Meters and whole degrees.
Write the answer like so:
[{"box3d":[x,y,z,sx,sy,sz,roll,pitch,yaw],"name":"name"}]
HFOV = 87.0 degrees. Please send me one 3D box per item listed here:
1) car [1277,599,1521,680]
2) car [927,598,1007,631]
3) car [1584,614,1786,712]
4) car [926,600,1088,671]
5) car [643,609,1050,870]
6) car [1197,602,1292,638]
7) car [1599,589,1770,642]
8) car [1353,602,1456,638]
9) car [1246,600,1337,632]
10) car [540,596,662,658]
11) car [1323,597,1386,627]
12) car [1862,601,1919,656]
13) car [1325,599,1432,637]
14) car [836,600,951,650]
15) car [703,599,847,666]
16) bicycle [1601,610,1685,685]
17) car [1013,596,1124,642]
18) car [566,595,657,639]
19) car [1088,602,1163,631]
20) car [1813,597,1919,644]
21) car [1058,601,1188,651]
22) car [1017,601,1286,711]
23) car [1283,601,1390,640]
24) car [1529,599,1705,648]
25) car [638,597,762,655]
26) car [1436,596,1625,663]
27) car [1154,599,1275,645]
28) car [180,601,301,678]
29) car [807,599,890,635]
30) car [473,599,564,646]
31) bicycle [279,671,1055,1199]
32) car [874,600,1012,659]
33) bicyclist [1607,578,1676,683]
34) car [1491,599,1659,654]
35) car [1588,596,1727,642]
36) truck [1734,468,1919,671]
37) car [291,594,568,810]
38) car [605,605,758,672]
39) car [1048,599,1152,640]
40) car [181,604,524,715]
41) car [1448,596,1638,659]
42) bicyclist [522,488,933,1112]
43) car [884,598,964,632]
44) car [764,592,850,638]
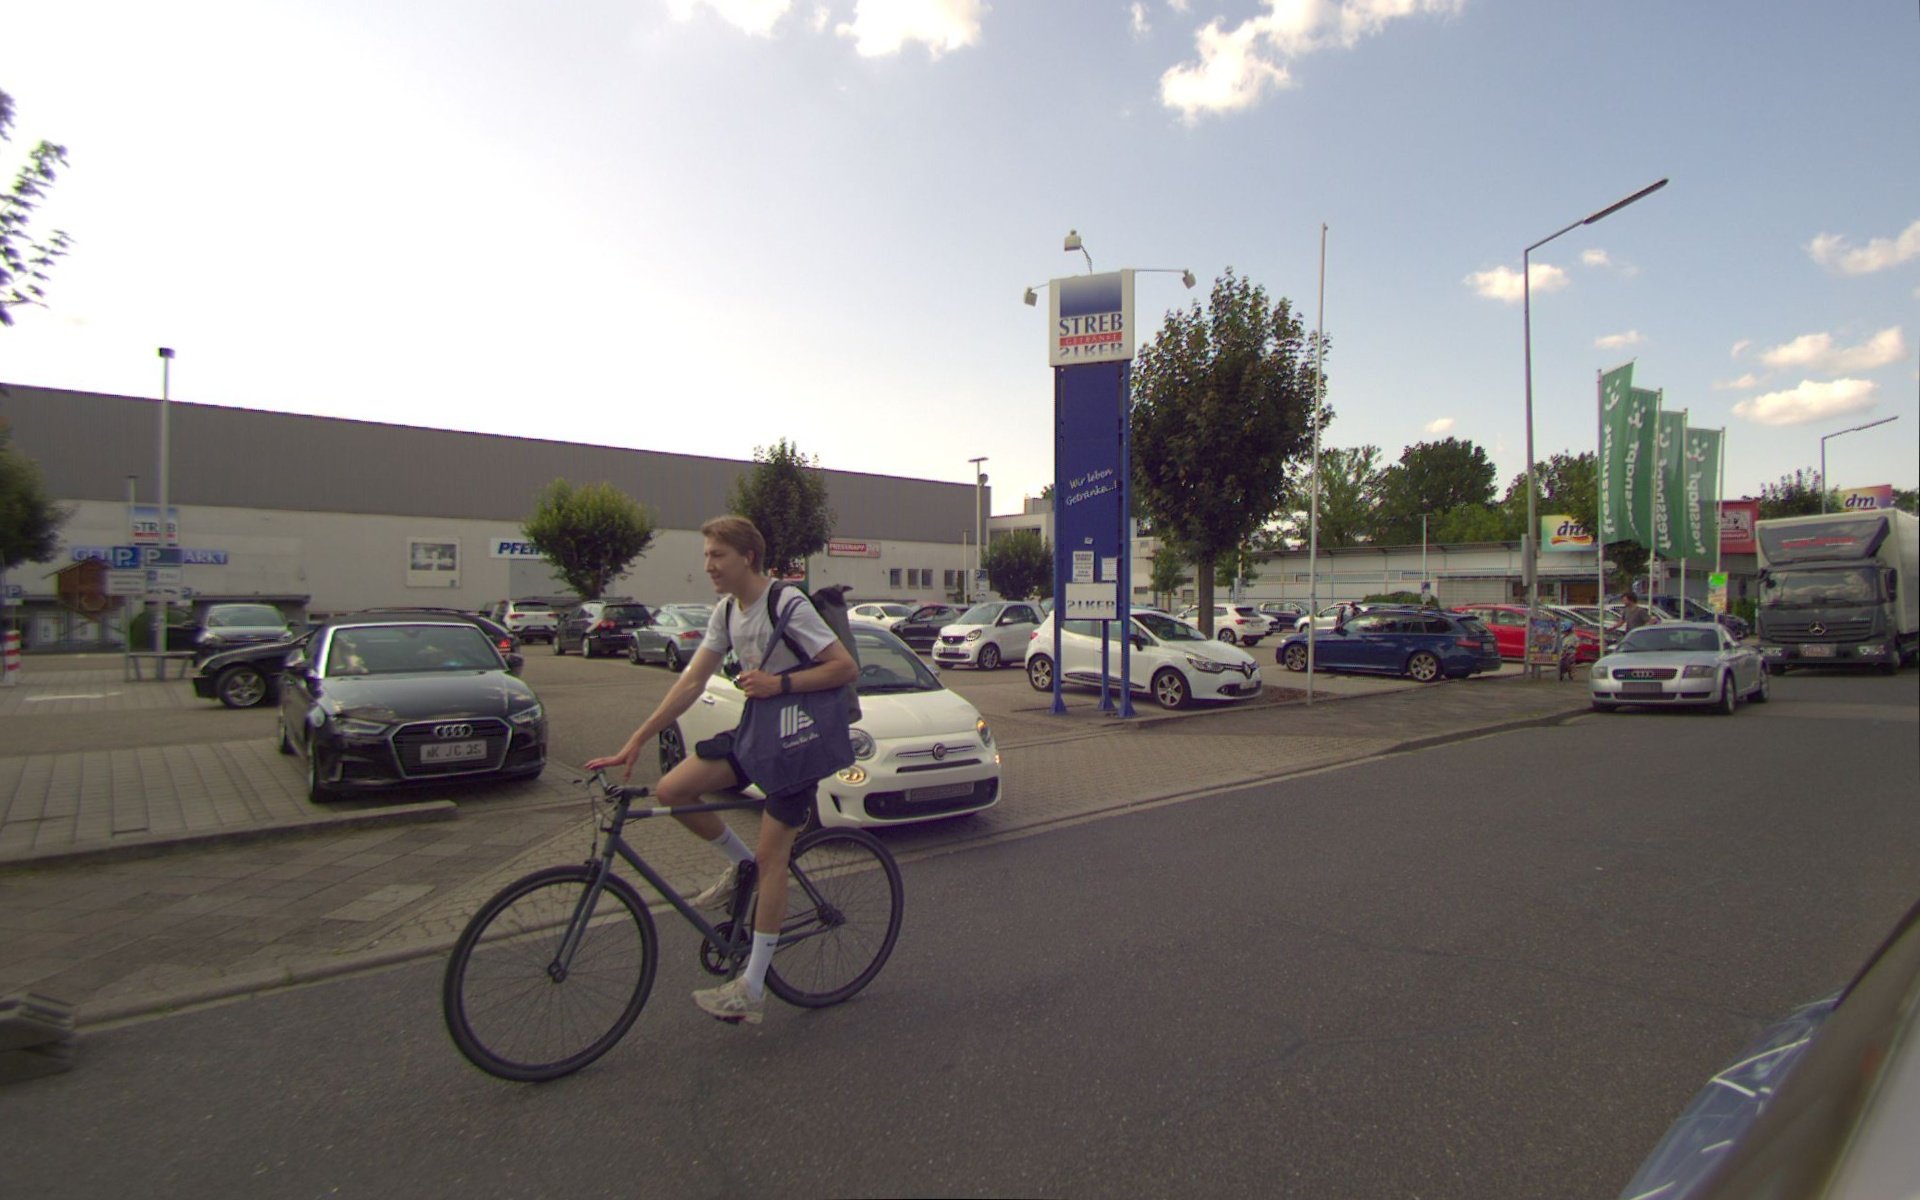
[{"box3d":[8.992,0.737,21.014,1.815,1.462,4.314,1,0,-42],"name":"car"},{"box3d":[0.298,0.694,50.513,1.695,1.502,4.028,1,0,-43],"name":"car"},{"box3d":[11.470,0.941,15.922,3.915,1.358,1.663,1,-4,-41],"name":"car"},{"box3d":[1.155,0.791,23.758,3.690,1.539,1.720,1,-1,-43],"name":"car"},{"box3d":[-1.102,0.866,8.101,1.657,1.488,3.611,1,1,-36],"name":"car"},{"box3d":[13.034,0.878,46.528,1.695,1.502,3.940,1,0,-43],"name":"car"},{"box3d":[27.007,0.533,37.866,1.869,1.810,4.902,1,0,-41],"name":"car"},{"box3d":[20.113,0.868,45.854,1.695,1.502,3.940,1,0,-43],"name":"car"},{"box3d":[16.418,0.762,50.233,1.695,1.502,3.940,1,0,-43],"name":"car"},{"box3d":[-9.830,0.677,27.570,1.695,1.502,4.046,1,0,-43],"name":"car"},{"box3d":[21.091,0.632,54.150,1.618,1.563,2.713,1,-1,-42],"name":"car"},{"box3d":[27.715,0.815,29.609,3.564,1.531,1.546,1,-3,-43],"name":"car"},{"box3d":[18.062,0.755,43.767,1.695,1.502,3.940,1,0,-43],"name":"car"},{"box3d":[-2.268,0.788,33.679,1.695,1.502,4.014,1,0,-43],"name":"car"},{"box3d":[-4.764,0.768,25.706,1.695,1.502,4.063,1,0,-43],"name":"car"},{"box3d":[13.168,0.874,19.494,1.848,1.311,0.794,0,3,-39],"name":"bicycle"},{"box3d":[4.051,0.691,38.189,1.711,1.598,4.062,1,0,-43],"name":"car"},{"box3d":[-13.024,0.598,37.690,1.726,1.502,4.054,1,0,-43],"name":"car"},{"box3d":[9.308,0.897,57.066,1.695,1.502,4.037,1,0,-43],"name":"car"},{"box3d":[34.941,0.757,37.690,4.518,1.706,1.740,-1,-1,11],"name":"car"},{"box3d":[5.258,0.799,32.976,1.711,1.502,3.986,1,0,-43],"name":"car"},{"box3d":[2.955,0.793,16.212,1.766,1.428,3.957,1,1,-43],"name":"car"},{"box3d":[15.907,0.826,42.871,1.695,1.502,3.940,1,0,-43],"name":"car"},{"box3d":[21.319,0.714,32.979,1.826,1.455,4.489,1,0,-41],"name":"car"},{"box3d":[-7.513,0.682,29.020,1.695,1.502,4.123,1,0,-43],"name":"car"},{"box3d":[14.459,0.687,25.760,3.885,1.542,1.721,1,0,45],"name":"car"},{"box3d":[9.055,0.739,36.213,1.695,1.502,3.940,1,0,-43],"name":"car"},{"box3d":[-16.018,0.802,22.458,1.695,1.502,4.054,1,0,-43],"name":"car"},{"box3d":[-5.052,0.727,45.492,1.695,1.502,3.927,1,0,-43],"name":"car"},{"box3d":[-15.735,0.763,35.993,1.695,1.502,4.189,1,0,-43],"name":"car"},{"box3d":[-0.847,0.925,3.635,2.581,1.195,0.799,0,-2,-41],"name":"bicycle"},{"box3d":[-0.539,0.773,28.731,1.695,1.502,3.999,1,0,-43],"name":"car"},{"box3d":[13.054,0.565,19.386,0.814,1.934,0.797,0,3,-38],"name":"bicyclist"},{"box3d":[17.829,0.732,29.439,3.885,1.450,1.721,1,0,45],"name":"car"},{"box3d":[24.943,0.651,36.279,1.624,1.518,3.820,1,0,-39],"name":"car"},{"box3d":[21.625,-0.549,24.484,8.133,4.170,2.782,0,-3,-41],"name":"truck"},{"box3d":[-5.045,0.708,9.308,1.772,1.448,4.194,1,1,-34],"name":"car"},{"box3d":[-6.546,0.825,23.529,1.764,1.355,4.109,1,0,-43],"name":"car"},{"box3d":[5.533,0.725,40.367,1.695,1.502,3.940,1,0,-43],"name":"car"},{"box3d":[-9.216,0.845,15.781,4.296,1.428,1.690,-2,0,-19],"name":"car"},{"box3d":[16.027,0.705,27.972,4.287,1.562,1.721,1,0,45],"name":"car"},{"box3d":[-0.831,0.587,3.663,1.186,1.816,0.807,0,-3,-41],"name":"bicyclist"},{"box3d":[-1.789,0.708,49.028,1.695,1.502,4.035,1,0,-43],"name":"car"},{"box3d":[-6.618,0.604,43.511,1.695,1.823,4.070,1,0,-43],"name":"car"}]
